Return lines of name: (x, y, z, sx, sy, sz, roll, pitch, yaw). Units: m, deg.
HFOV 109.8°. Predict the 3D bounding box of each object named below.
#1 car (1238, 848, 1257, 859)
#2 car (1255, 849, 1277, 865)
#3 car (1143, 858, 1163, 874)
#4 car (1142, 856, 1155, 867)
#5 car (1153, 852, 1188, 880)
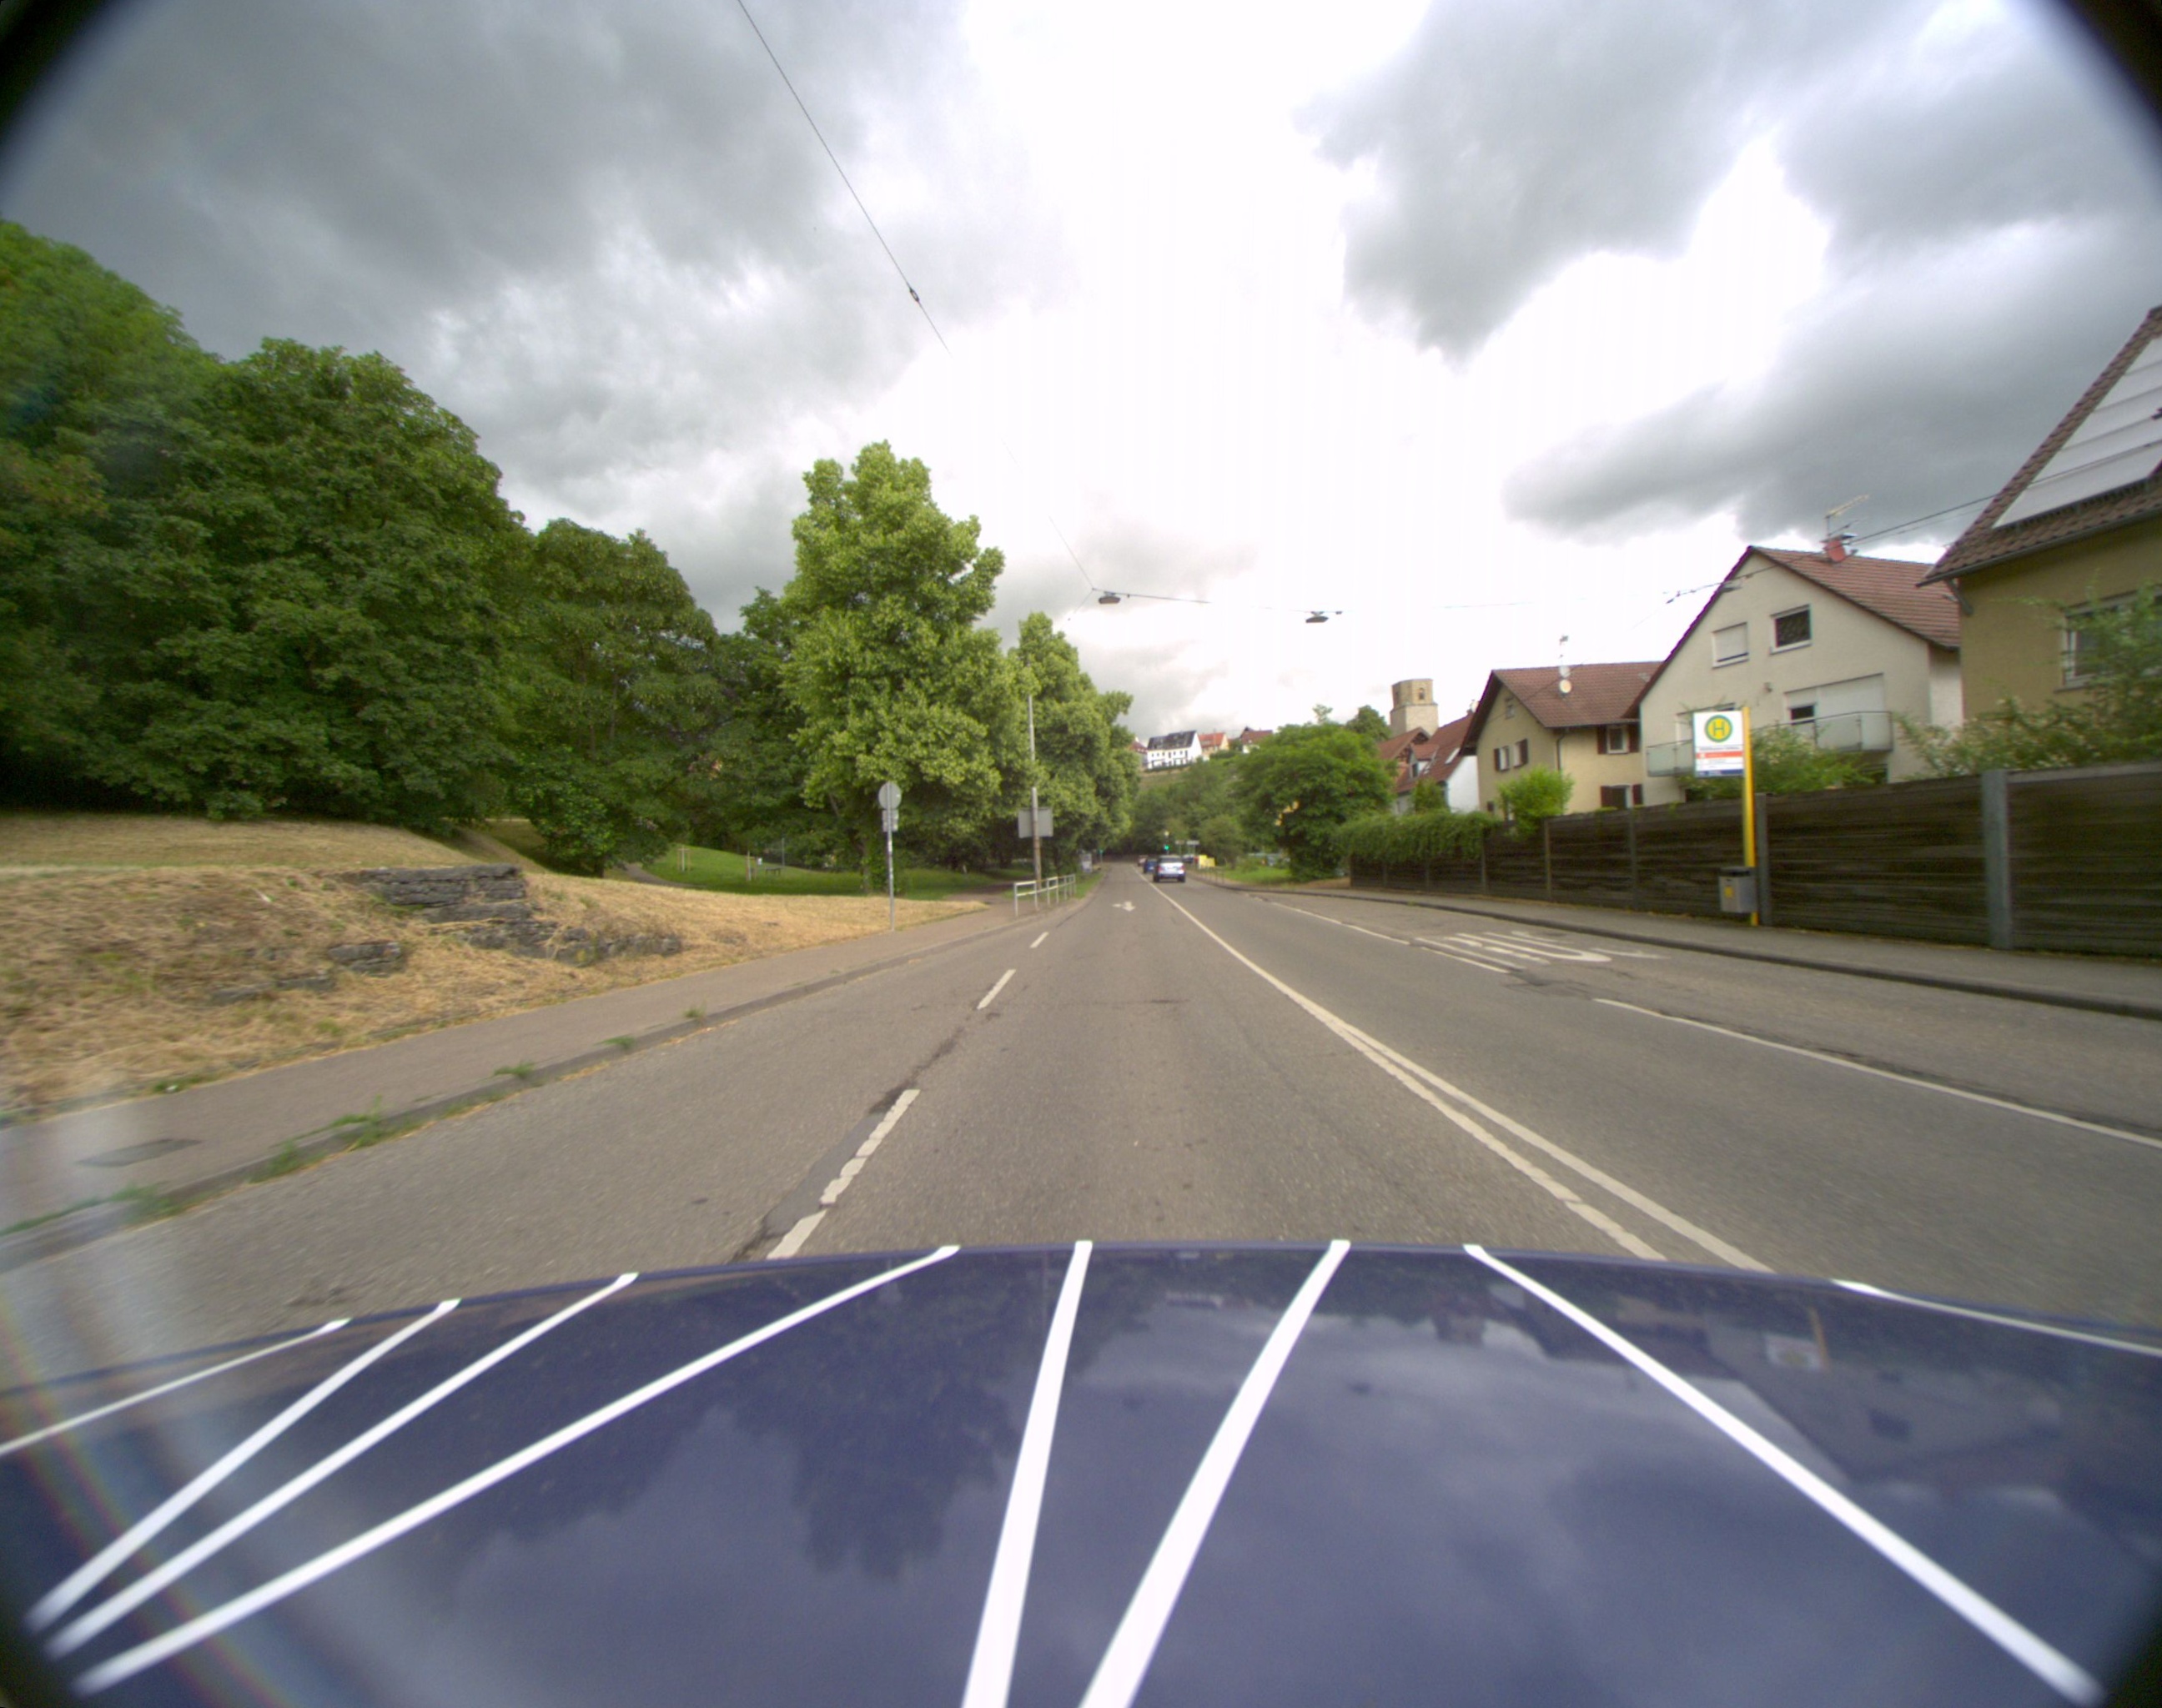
car: (21.041, -0.097, 95.902, 1.649, 1.337, 4.153, -1, 0, 3)
car: (19.949, 0.296, 82.045, 1.815, 1.608, 4.002, -1, 0, 6)
car: (7.035, 1.146, 74.608, 1.720, 1.460, 4.100, -1, 0, 2)
car: (10.057, 1.133, 113.332, 1.708, 1.503, 4.001, -1, 0, 3)
car: (5.859, 0.787, 50.116, 1.940, 1.713, 4.693, -1, 0, 2)
